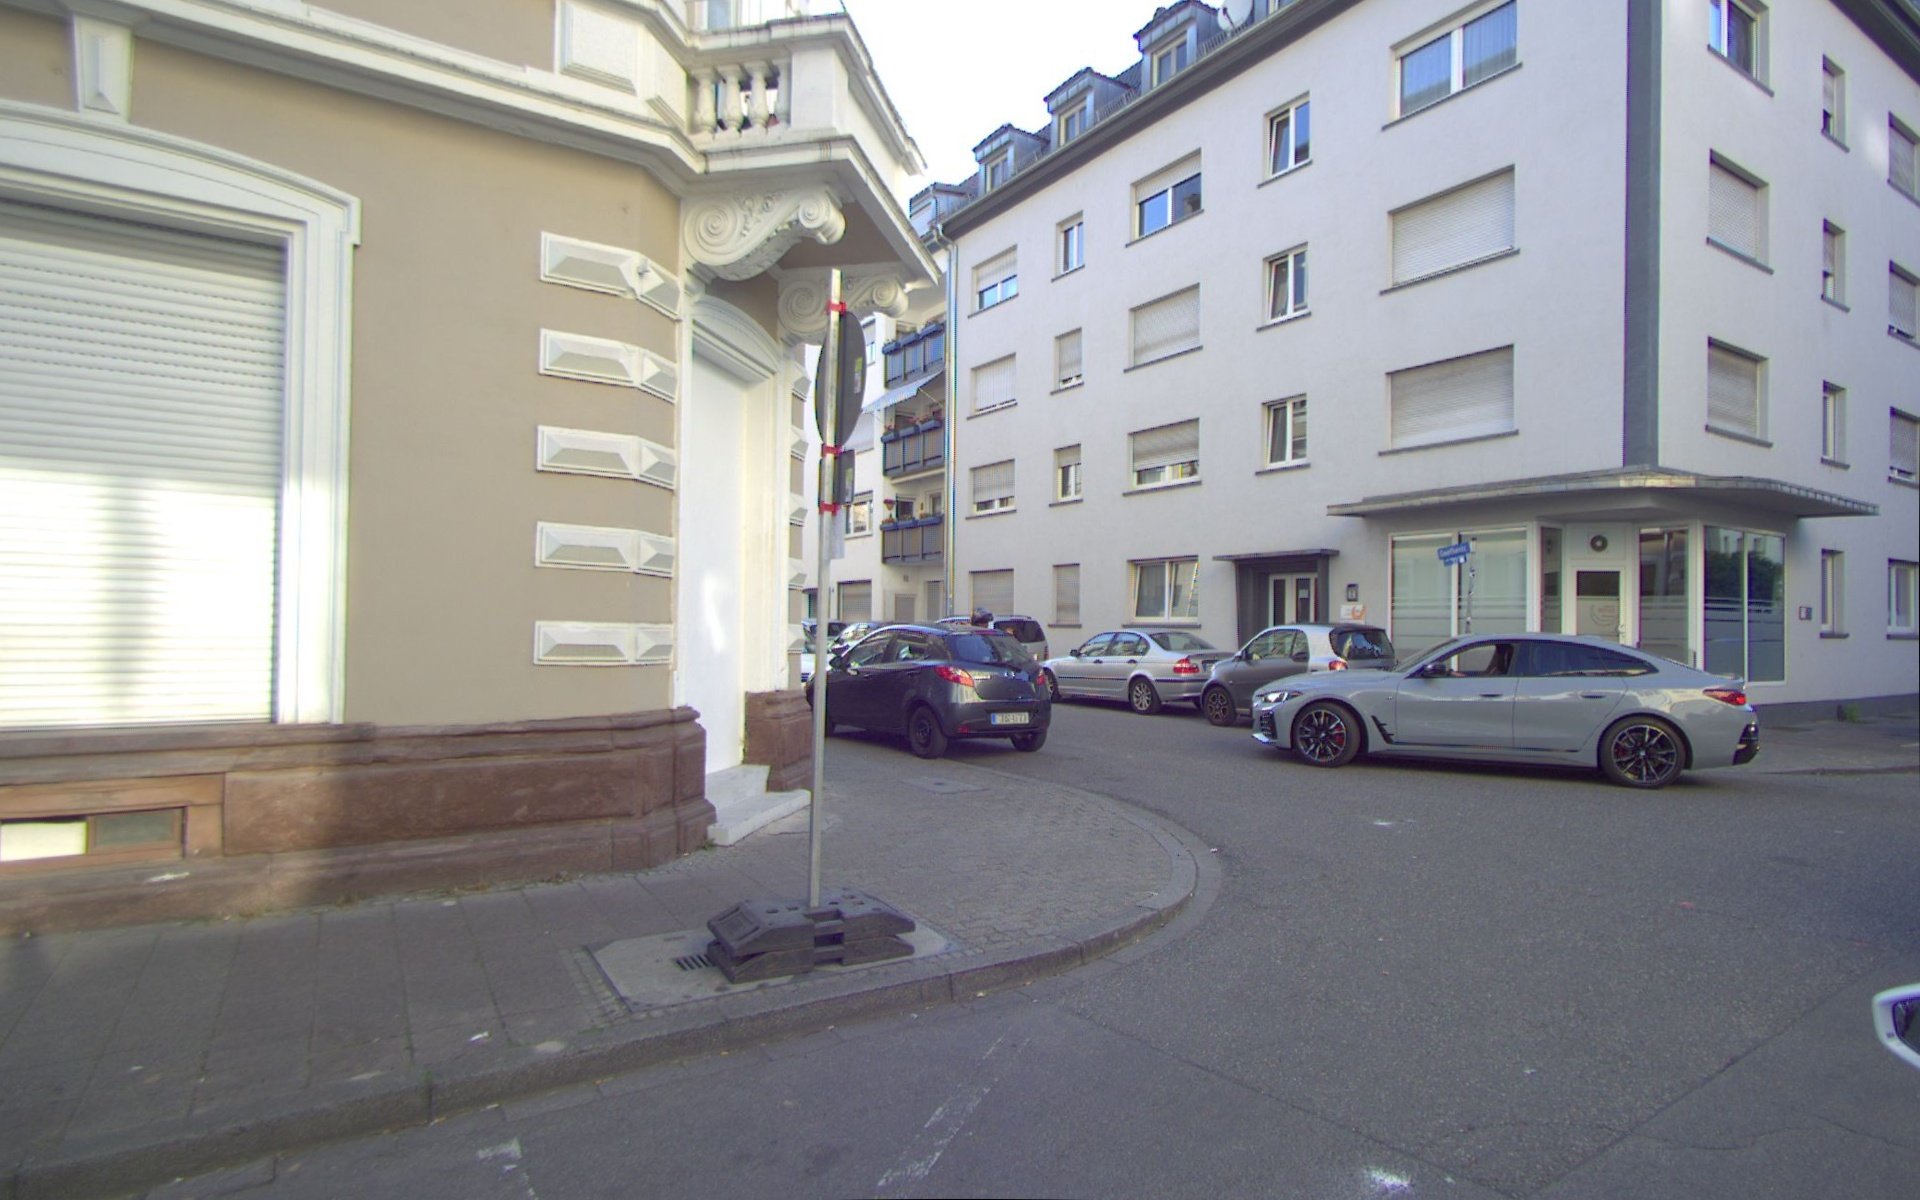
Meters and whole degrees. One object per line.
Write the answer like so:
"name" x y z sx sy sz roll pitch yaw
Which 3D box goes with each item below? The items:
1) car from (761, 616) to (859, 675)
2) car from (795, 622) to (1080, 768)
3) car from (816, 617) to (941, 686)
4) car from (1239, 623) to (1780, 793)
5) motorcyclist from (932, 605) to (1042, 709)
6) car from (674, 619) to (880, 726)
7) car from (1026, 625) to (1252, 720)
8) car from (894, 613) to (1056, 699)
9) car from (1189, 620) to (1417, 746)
"car" -4.523 1.326 29.947 1.586 1.560 3.470 2 0 -33
"car" -0.407 1.020 12.256 1.713 1.470 3.639 2 -2 -36
"car" -2.166 1.276 25.973 1.587 1.560 3.685 2 0 -34
"car" 5.537 1.015 10.809 4.717 1.470 1.933 0 -1 22
"motorcyclist" 0.362 0.760 13.782 0.963 1.347 1.215 1 -1 -36
"car" -3.121 1.075 16.431 1.884 1.481 4.286 1 -2 -32
"car" 3.074 1.214 18.115 1.586 1.422 4.179 2 -1 -33
"car" 0.231 1.157 22.220 1.586 1.626 3.993 2 0 -33
"car" 4.921 1.120 14.651 1.576 1.560 2.771 2 0 -32
